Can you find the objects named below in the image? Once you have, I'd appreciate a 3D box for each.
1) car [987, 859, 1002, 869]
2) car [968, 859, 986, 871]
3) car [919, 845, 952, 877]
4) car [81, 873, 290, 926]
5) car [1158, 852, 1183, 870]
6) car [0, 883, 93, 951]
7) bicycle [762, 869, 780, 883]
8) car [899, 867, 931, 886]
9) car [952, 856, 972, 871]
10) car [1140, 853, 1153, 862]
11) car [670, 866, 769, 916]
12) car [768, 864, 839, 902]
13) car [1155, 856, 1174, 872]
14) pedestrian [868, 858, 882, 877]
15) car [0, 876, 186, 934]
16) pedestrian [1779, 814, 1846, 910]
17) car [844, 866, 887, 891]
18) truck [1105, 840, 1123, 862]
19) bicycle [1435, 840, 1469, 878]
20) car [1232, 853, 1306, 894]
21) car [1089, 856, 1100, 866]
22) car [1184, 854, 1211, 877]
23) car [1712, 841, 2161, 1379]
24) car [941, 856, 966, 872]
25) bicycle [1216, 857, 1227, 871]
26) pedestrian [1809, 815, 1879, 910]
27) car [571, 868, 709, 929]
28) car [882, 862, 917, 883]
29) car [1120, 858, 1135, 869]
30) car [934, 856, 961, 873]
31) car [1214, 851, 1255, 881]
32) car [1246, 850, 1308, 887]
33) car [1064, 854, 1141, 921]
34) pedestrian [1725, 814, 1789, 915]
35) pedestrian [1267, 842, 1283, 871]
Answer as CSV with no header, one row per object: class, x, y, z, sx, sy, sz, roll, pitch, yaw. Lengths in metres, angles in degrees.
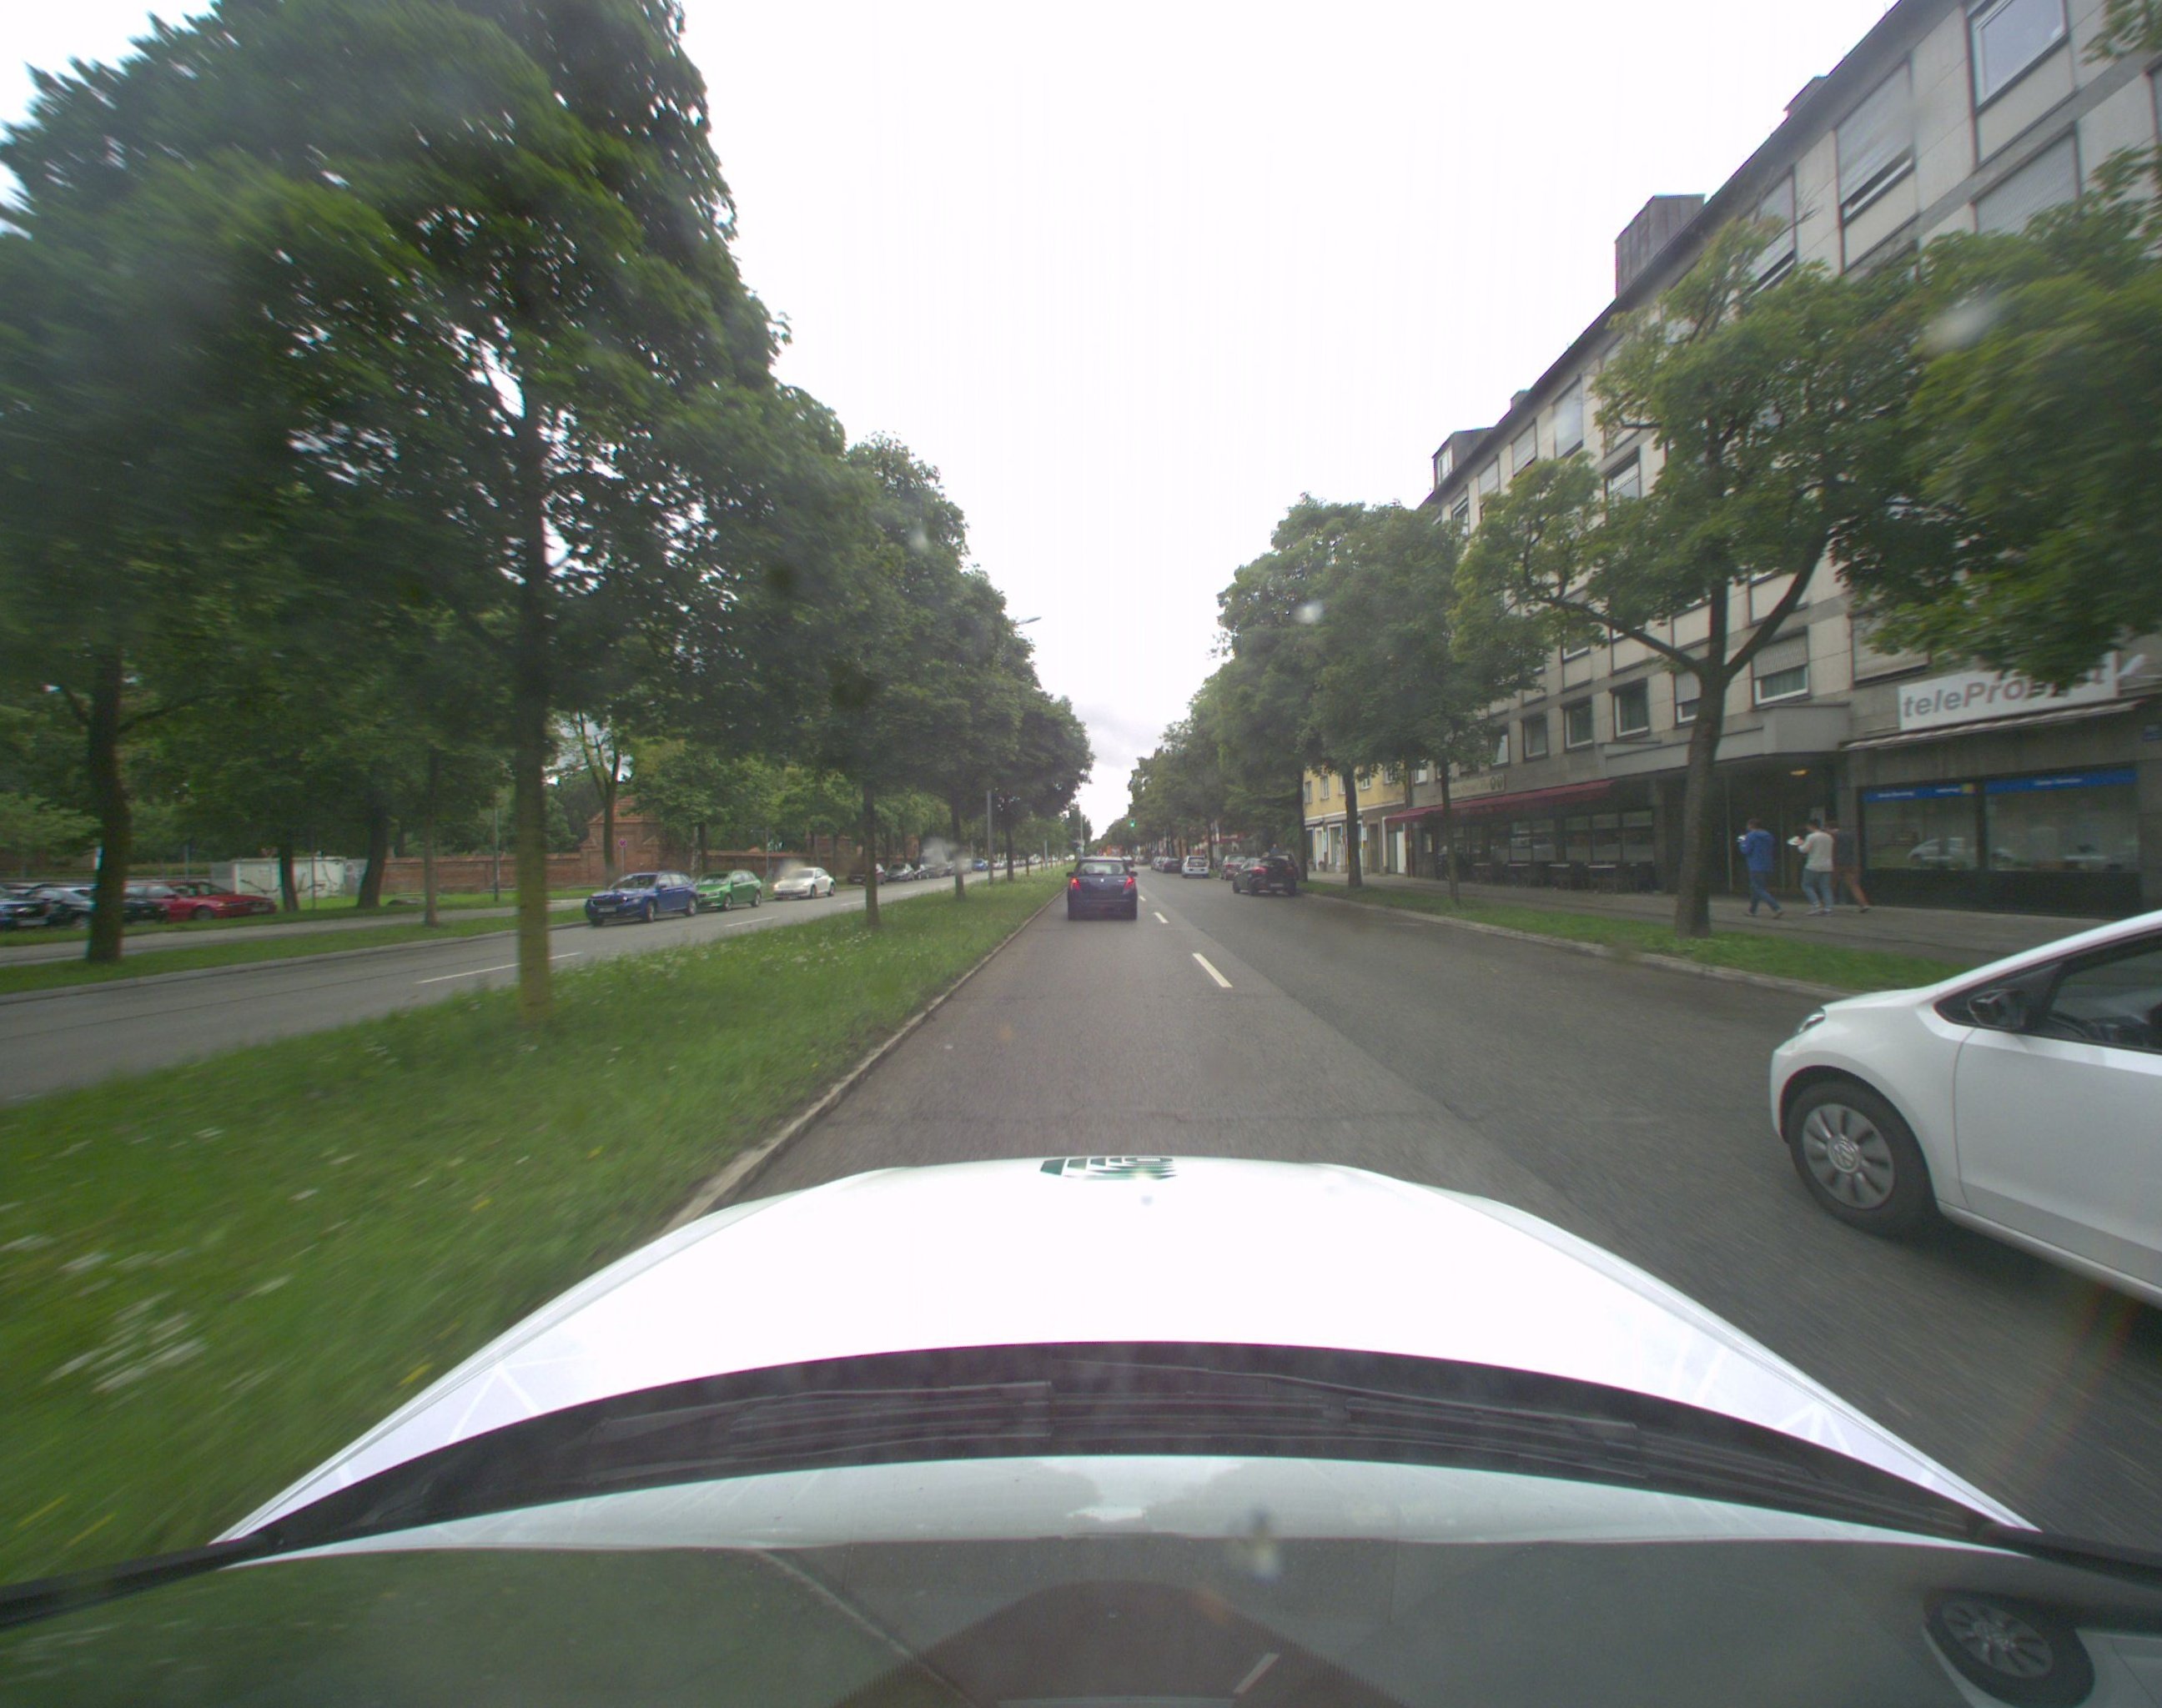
car,-13.476,1.583,127.011,1.795,1.534,4.001,-2,0,1
car,-14.104,1.489,110.480,1.700,1.534,4.001,-2,0,1
car,-14.058,0.668,78.875,2.179,2.954,6.188,-1,0,-1
car,-27.136,1.363,24.777,4.397,1.392,1.760,-2,0,1
car,7.954,0.597,72.583,1.649,1.452,4.706,-2,0,-1
car,-27.024,1.538,19.463,4.334,1.505,2.000,-2,0,0
bicycle,-22.125,1.582,58.107,0.653,0.936,1.618,-1,0,-1
car,-14.625,1.934,71.846,1.807,1.536,4.819,-1,0,0
car,-14.125,1.141,96.586,1.700,1.734,4.001,-2,0,1
car,11.114,0.556,138.623,1.986,1.530,4.001,-2,0,1
car,-13.398,1.313,30.484,1.633,1.537,4.315,-4,0,1
car,-13.257,1.363,39.140,1.755,1.537,4.315,-4,0,1
car,8.507,1.007,82.901,1.688,1.452,4.126,-2,0,3
pedestrian,-17.415,1.146,68.832,0.766,1.567,0.800,-2,0,37
car,-27.438,1.383,22.272,3.962,1.392,1.760,-2,0,1
pedestrian,12.972,0.140,14.457,0.547,1.629,0.641,-3,0,1
car,-14.877,1.672,56.399,1.807,1.536,4.298,-1,0,0
truck,5.805,-0.483,142.823,3.030,3.557,13.681,-1,0,2
bicycle,14.620,0.199,32.169,0.578,1.463,1.689,-1,0,2
car,7.128,0.697,31.252,1.986,1.452,4.001,-1,0,2
car,2.258,1.155,134.007,1.712,1.500,4.301,-1,0,1
car,8.027,0.762,55.972,1.643,1.452,4.012,-2,0,10
car,3.830,0.708,2.198,1.680,1.490,3.436,0,0,2
car,-14.202,1.071,91.128,2.179,1.736,4.575,-1,0,-1
bicycle,9.697,0.692,56.317,0.446,0.980,1.799,-1,0,1
pedestrian,13.606,0.145,14.540,0.539,1.640,0.725,-1,0,1
car,-13.532,1.290,25.342,1.881,1.537,4.313,-4,0,0
car,-14.678,1.466,66.163,1.807,1.536,4.441,-1,0,0
car,6.134,1.248,107.697,1.815,1.477,4.691,1,0,1
car,-14.018,1.048,85.801,2.179,1.736,4.575,-1,0,-1
car,9.308,0.693,49.783,1.808,1.626,4.310,-3,0,2
car,9.278,0.656,38.896,1.986,1.643,4.334,-1,0,2
car,0.565,0.779,20.827,1.746,1.505,4.002,-1,0,2
pedestrian,12.014,0.187,14.482,0.498,1.733,0.733,-1,0,1
pedestrian,12.990,0.151,54.569,0.790,1.855,0.776,-3,0,-2
